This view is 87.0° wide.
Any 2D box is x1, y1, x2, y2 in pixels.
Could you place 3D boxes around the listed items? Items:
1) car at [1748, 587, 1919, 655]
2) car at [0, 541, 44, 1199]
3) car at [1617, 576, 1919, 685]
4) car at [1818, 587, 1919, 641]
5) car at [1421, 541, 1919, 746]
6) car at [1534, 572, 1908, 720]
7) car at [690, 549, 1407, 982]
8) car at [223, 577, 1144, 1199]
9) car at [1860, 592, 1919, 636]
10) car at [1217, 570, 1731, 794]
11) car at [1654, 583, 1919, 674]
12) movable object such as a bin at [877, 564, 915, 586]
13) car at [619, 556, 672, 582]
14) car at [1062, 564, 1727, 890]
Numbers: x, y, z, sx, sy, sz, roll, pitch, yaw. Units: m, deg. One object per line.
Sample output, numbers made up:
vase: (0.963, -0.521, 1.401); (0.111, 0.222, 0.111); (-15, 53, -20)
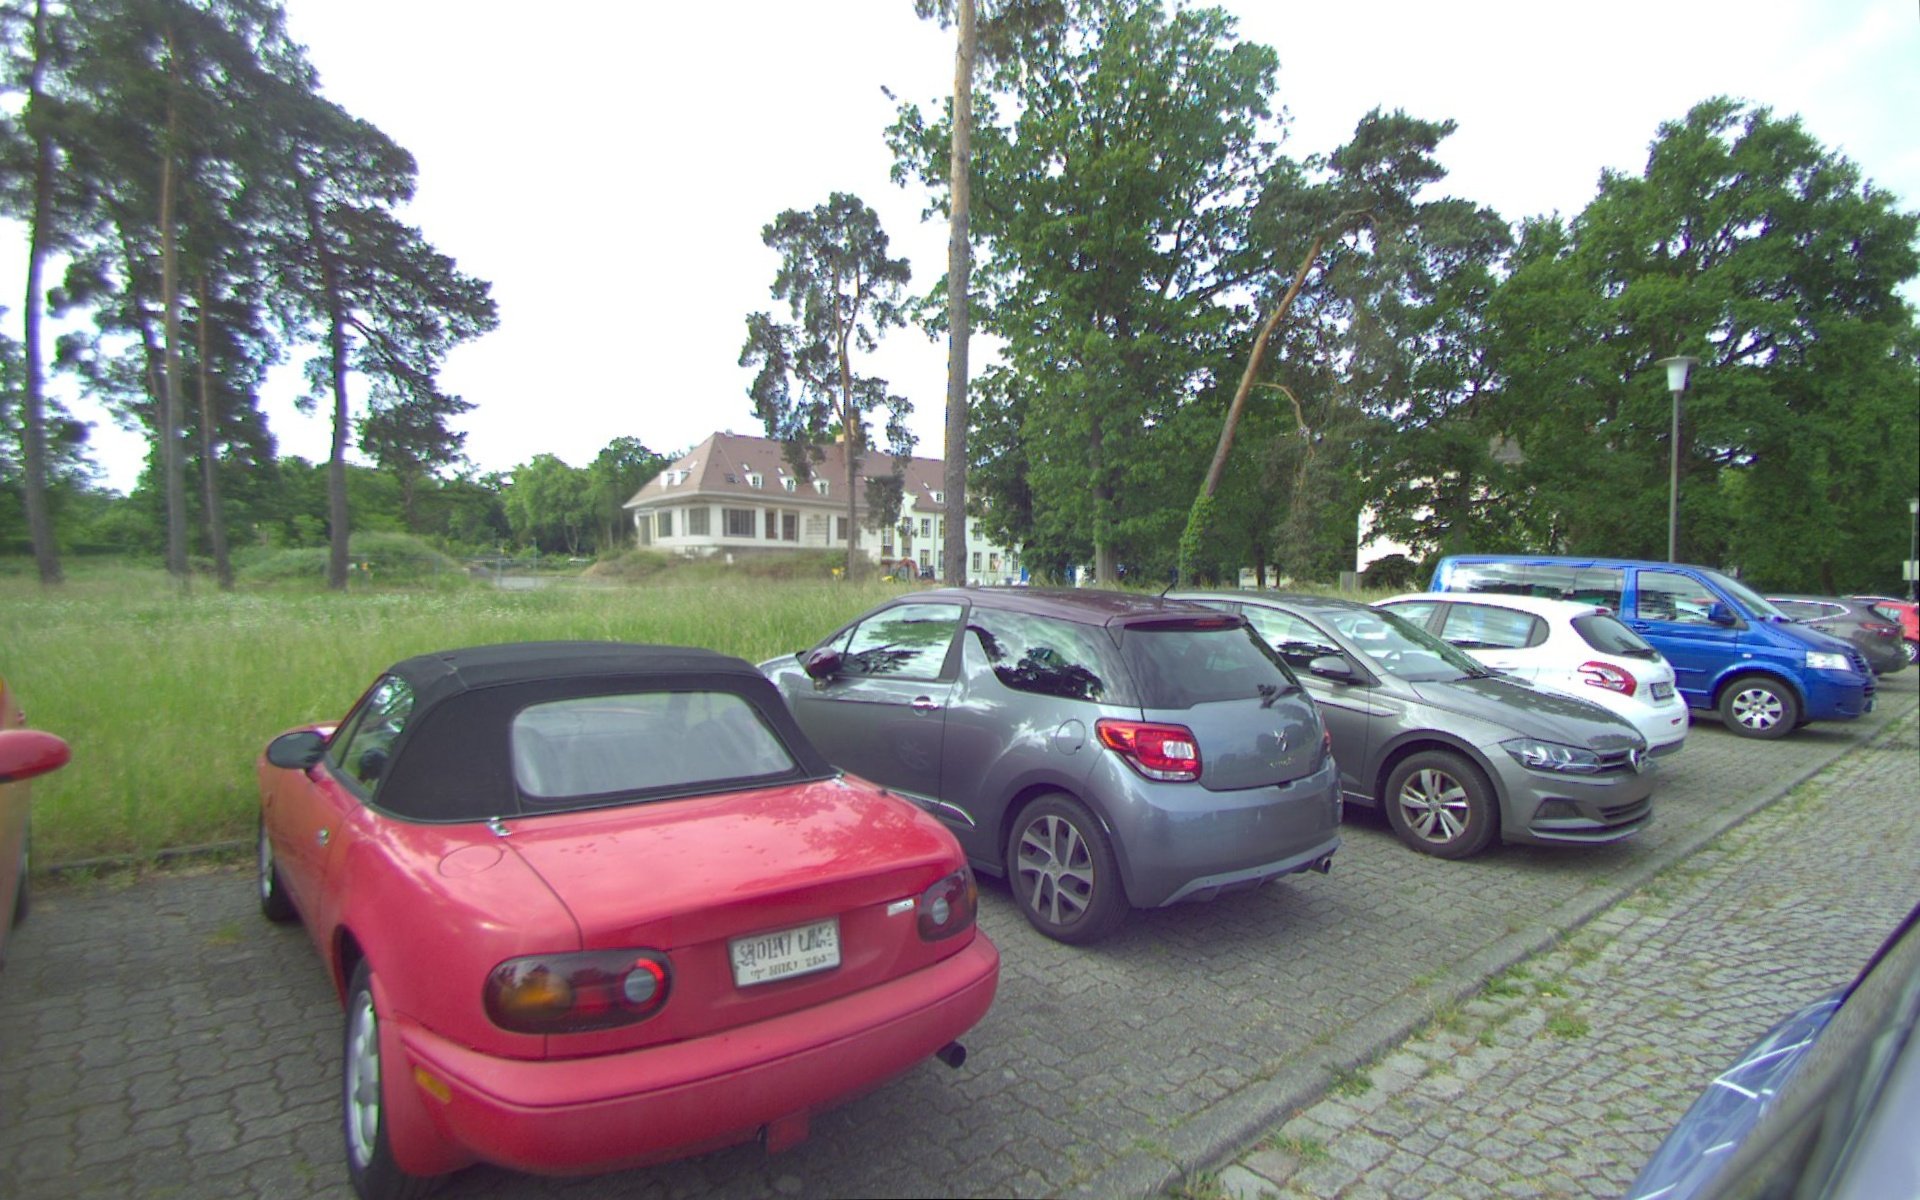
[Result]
car: (22.444, 0.499, 25.464); (1.555, 1.477, 3.891); (0, 3, -42)
car: (-3.507, 0.589, 2.434); (1.838, 1.433, 4.271); (0, 3, -41)
car: (14.913, 0.462, 18.735); (1.791, 1.618, 4.268); (0, 3, -42)
car: (30.047, 0.461, 32.057); (1.555, 1.557, 4.147); (0, 3, -42)
car: (8.667, 0.338, 12.687); (1.969, 1.969, 4.816); (0, 3, -42)
car: (10.595, 0.516, 14.306); (1.810, 1.489, 3.871); (0, 6, -42)
car: (0.190, 0.534, 5.719); (1.728, 1.490, 3.869); (0, 4, -42)
car: (-1.422, 0.645, 3.752); (1.728, 1.251, 3.869); (0, 4, -42)
car: (33.687, 0.544, 34.845); (1.555, 1.443, 3.875); (0, 3, -42)
car: (4.559, 0.558, 9.459); (1.727, 1.490, 3.872); (0, 3, -40)
car: (16.799, 0.492, 20.651); (1.735, 1.504, 4.015); (0, 3, -40)
movable object such as a bin: (-6.143, -2.406, 97.170); (3.181, 2.039, 1.682); (0, 1, -34)
car: (-30.738, -3.043, 98.950); (5.848, 2.268, 2.282); (4, 3, 42)
car: (2.737, 0.583, 7.077); (1.727, 1.490, 3.871); (0, 3, -41)
